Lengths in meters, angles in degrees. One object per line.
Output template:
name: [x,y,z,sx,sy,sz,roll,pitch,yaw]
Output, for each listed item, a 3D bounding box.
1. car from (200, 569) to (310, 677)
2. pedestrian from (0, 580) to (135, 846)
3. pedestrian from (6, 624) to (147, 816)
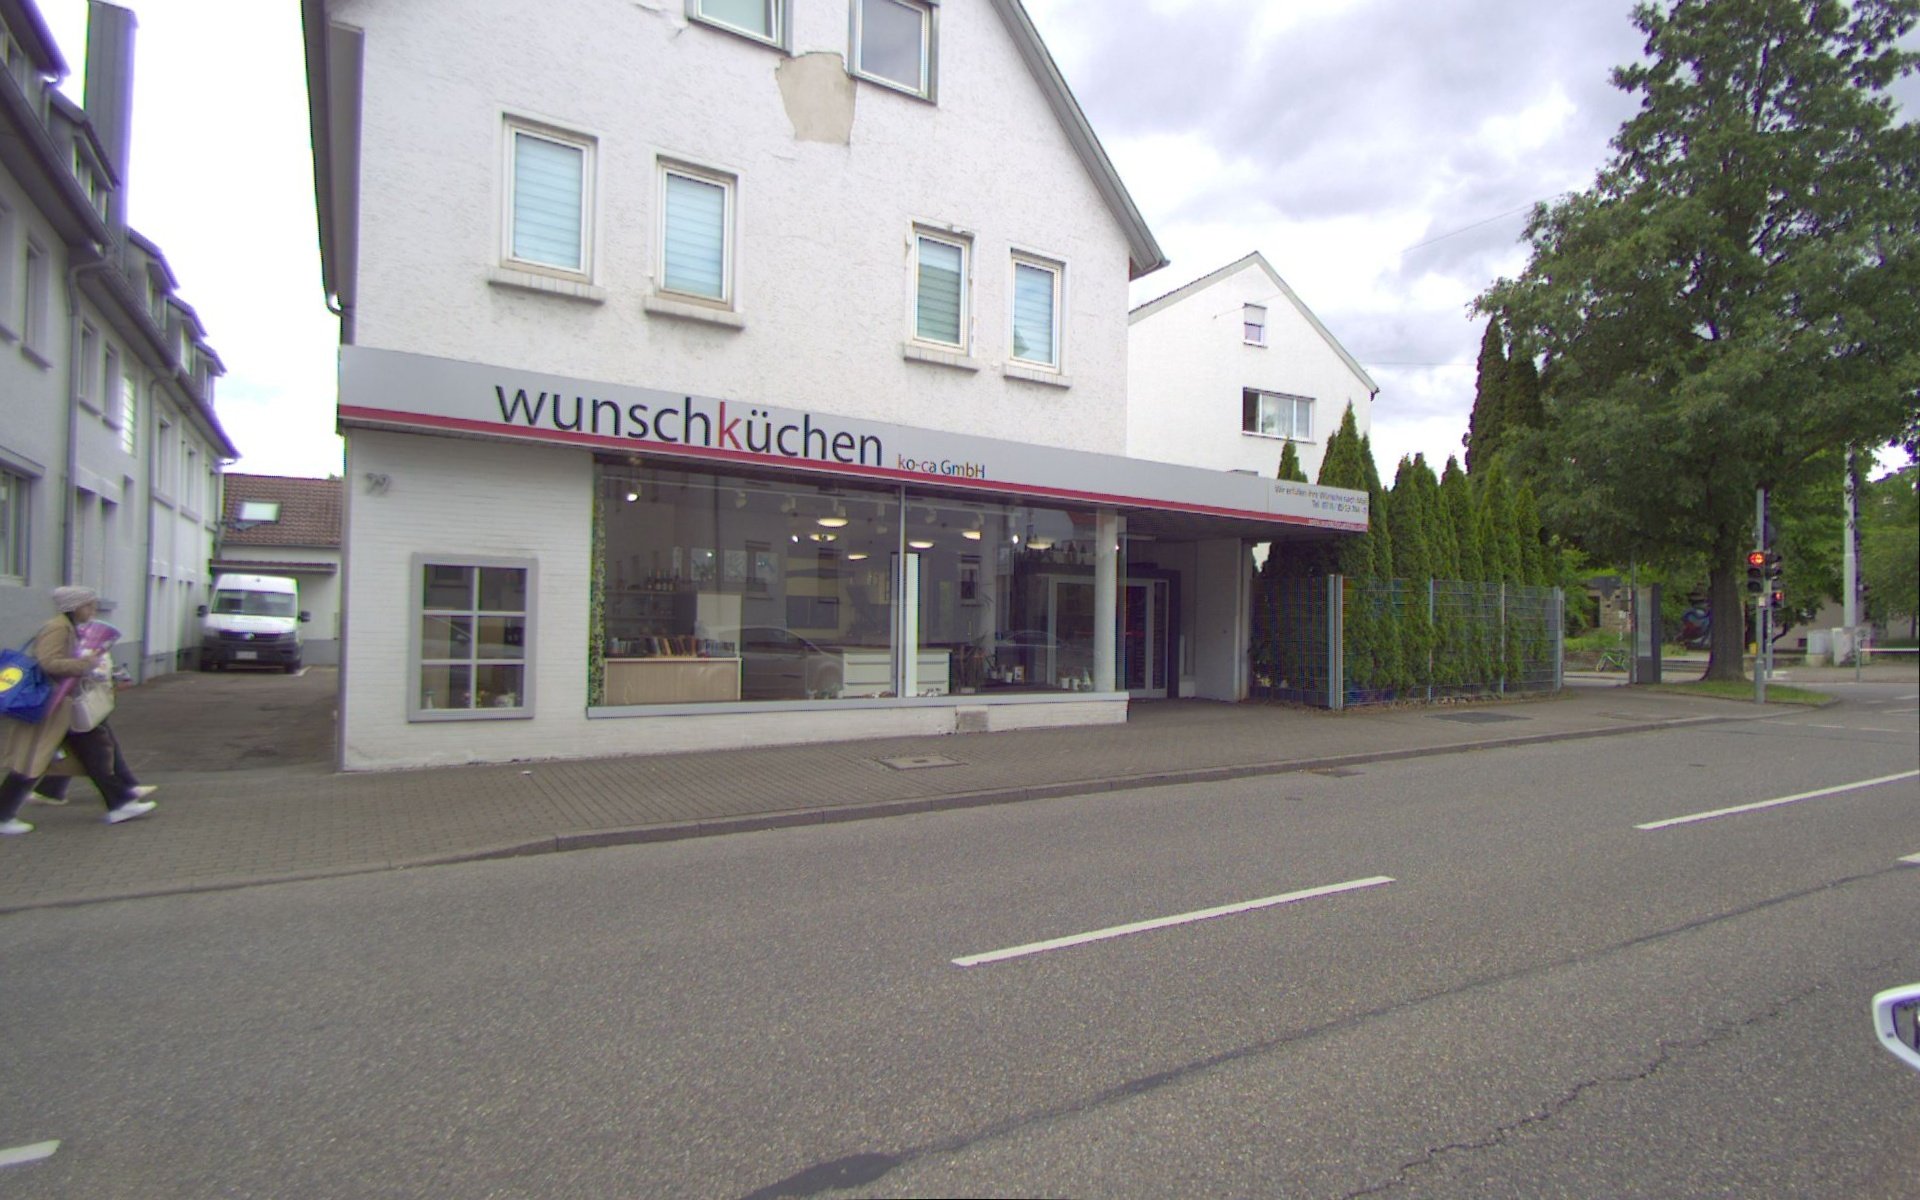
car: [-18.992,0.578,27.302,1.938,2.541,5.943,4,-2,-32]
pedestrian: [-6.057,0.711,6.657,0.784,1.638,0.747,1,2,-31]
pedestrian: [-6.396,0.836,7.307,0.647,1.297,0.596,1,1,-31]
